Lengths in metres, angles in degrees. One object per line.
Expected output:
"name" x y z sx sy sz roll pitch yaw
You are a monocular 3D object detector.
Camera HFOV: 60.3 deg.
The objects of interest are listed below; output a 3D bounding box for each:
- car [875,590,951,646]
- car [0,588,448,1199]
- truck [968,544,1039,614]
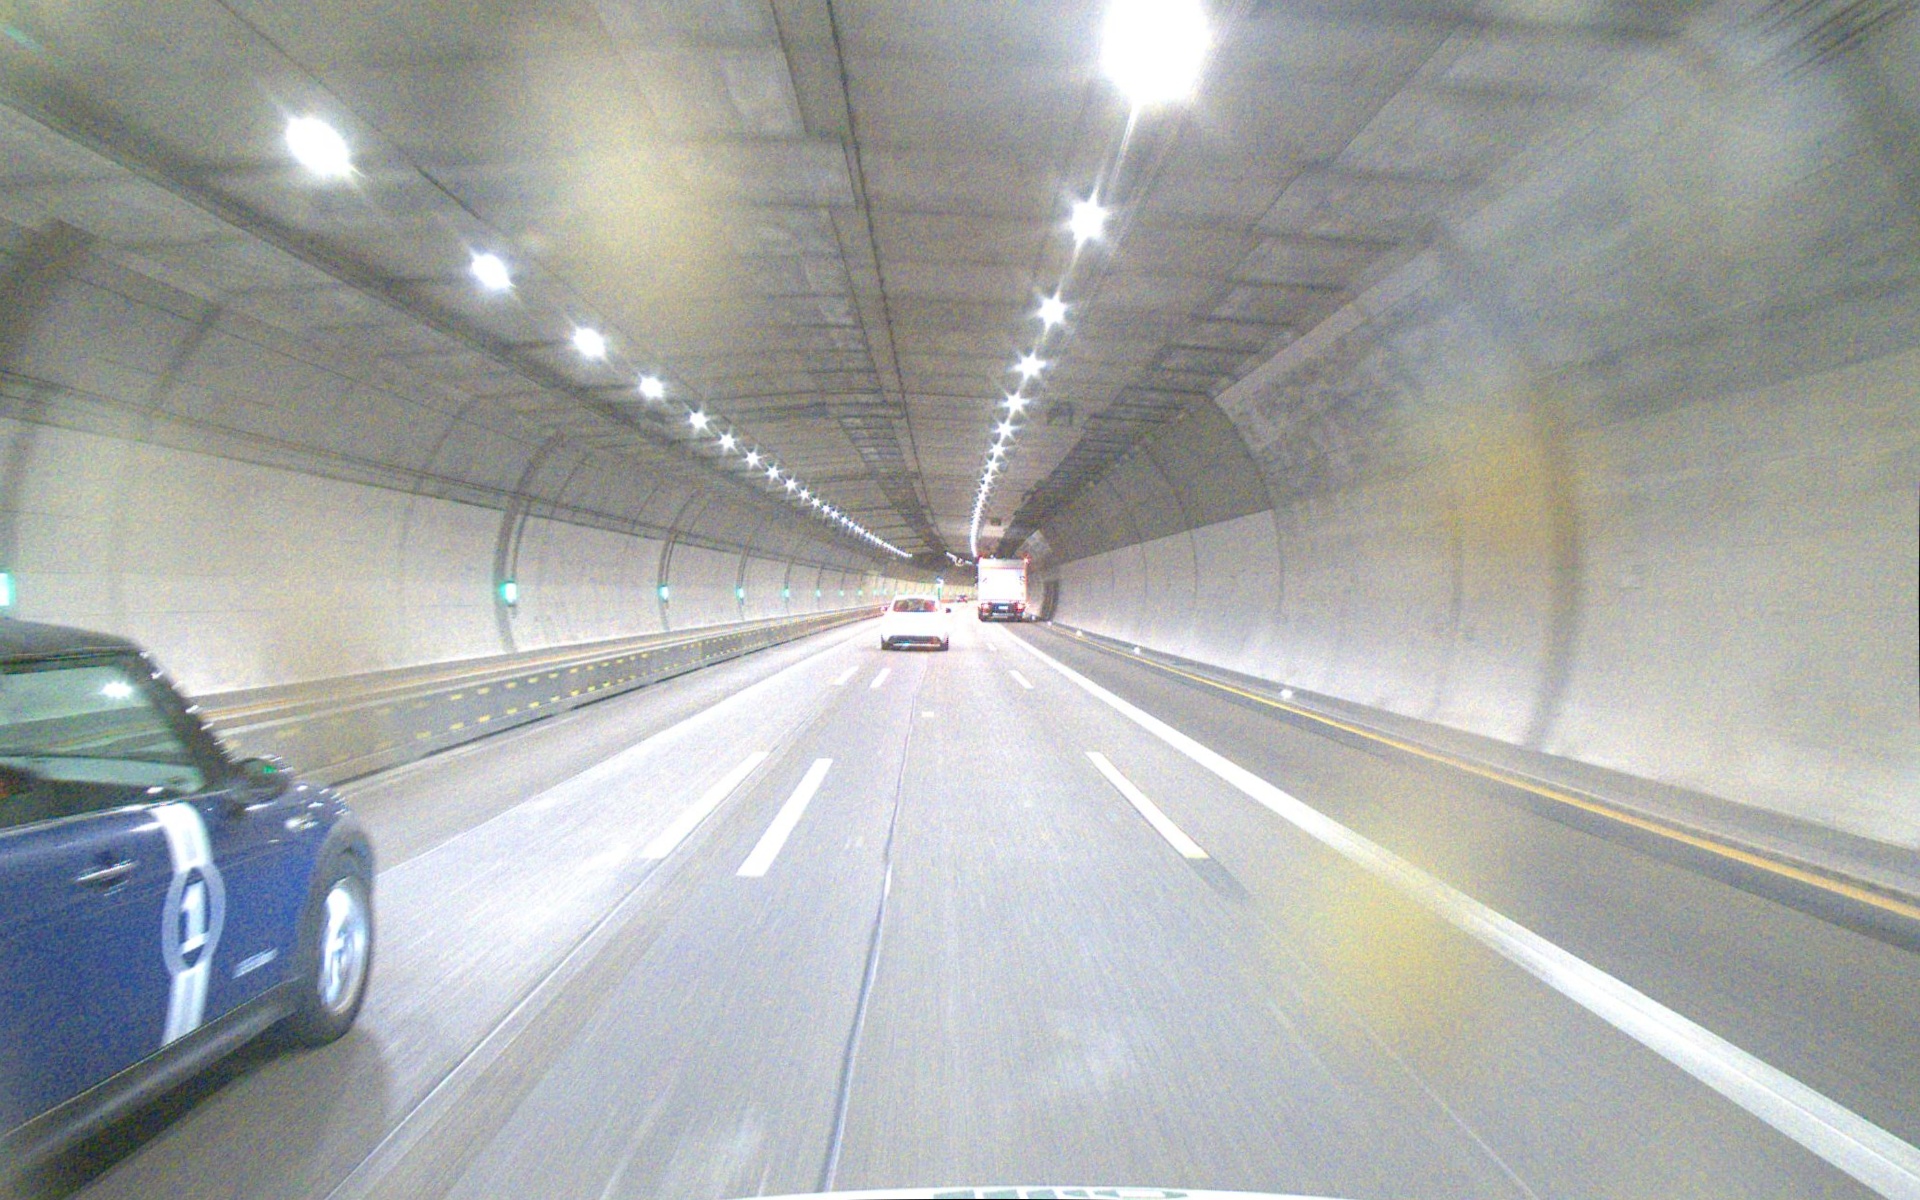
"car" -1.284 0.461 45.549 1.953 1.437 4.741 1 0 -2
"car" -2.779 0.700 4.420 1.655 1.442 3.922 1 0 -1
"truck" 2.391 -1.171 95.220 3.520 3.714 10.719 1 0 -2
